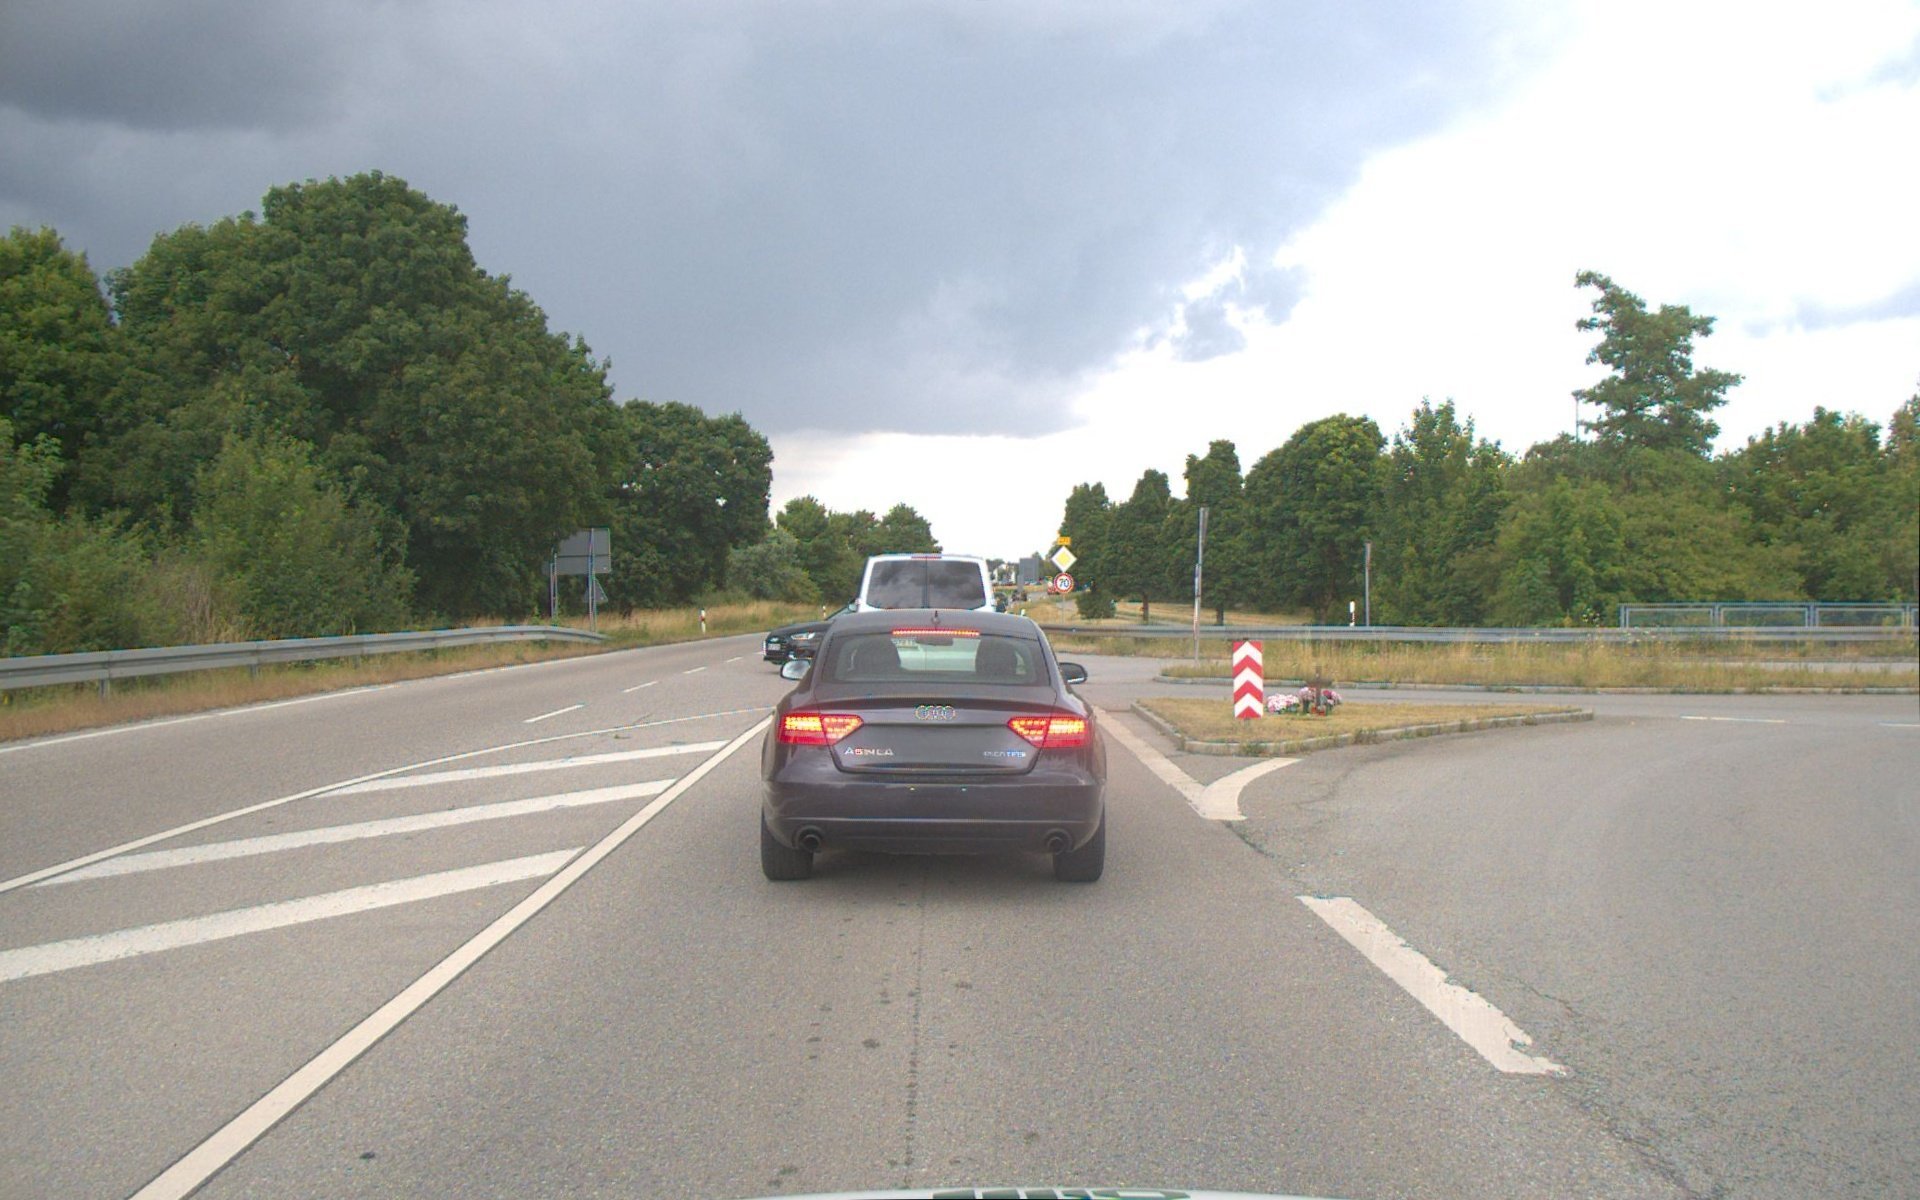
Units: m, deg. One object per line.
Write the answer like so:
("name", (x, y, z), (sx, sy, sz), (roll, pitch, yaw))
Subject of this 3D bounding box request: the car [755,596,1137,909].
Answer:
("car", (-0.090, 0.705, 9.653), (1.746, 1.400, 3.999), (1, 0, -1))

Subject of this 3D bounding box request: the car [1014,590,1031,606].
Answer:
("car", (7.852, -0.259, 208.362), (1.953, 2.049, 3.999), (0, 0, -1))

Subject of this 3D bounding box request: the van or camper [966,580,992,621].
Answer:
("van or camper", (1.704, 0.073, 147.278), (2.292, 3.542, 5.719), (0, 0, 1))

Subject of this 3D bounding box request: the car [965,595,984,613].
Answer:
("car", (1.126, 0.324, 130.675), (1.231, 1.377, 3.468), (0, 0, 5))

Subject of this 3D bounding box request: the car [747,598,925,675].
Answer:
("car", (-2.352, 0.667, 32.742), (1.783, 1.398, 4.612), (0, 0, 20))

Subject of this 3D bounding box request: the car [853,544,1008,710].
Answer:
("car", (-0.375, 0.303, 21.422), (1.801, 1.915, 3.999), (1, 0, -1))

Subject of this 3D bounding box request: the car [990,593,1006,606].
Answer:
("car", (4.172, -0.065, 180.953), (1.683, 1.477, 4.000), (1, 0, 0))

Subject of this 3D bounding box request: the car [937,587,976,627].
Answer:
("car", (-0.167, 0.392, 89.910), (1.952, 2.125, 4.001), (0, 0, 2))
